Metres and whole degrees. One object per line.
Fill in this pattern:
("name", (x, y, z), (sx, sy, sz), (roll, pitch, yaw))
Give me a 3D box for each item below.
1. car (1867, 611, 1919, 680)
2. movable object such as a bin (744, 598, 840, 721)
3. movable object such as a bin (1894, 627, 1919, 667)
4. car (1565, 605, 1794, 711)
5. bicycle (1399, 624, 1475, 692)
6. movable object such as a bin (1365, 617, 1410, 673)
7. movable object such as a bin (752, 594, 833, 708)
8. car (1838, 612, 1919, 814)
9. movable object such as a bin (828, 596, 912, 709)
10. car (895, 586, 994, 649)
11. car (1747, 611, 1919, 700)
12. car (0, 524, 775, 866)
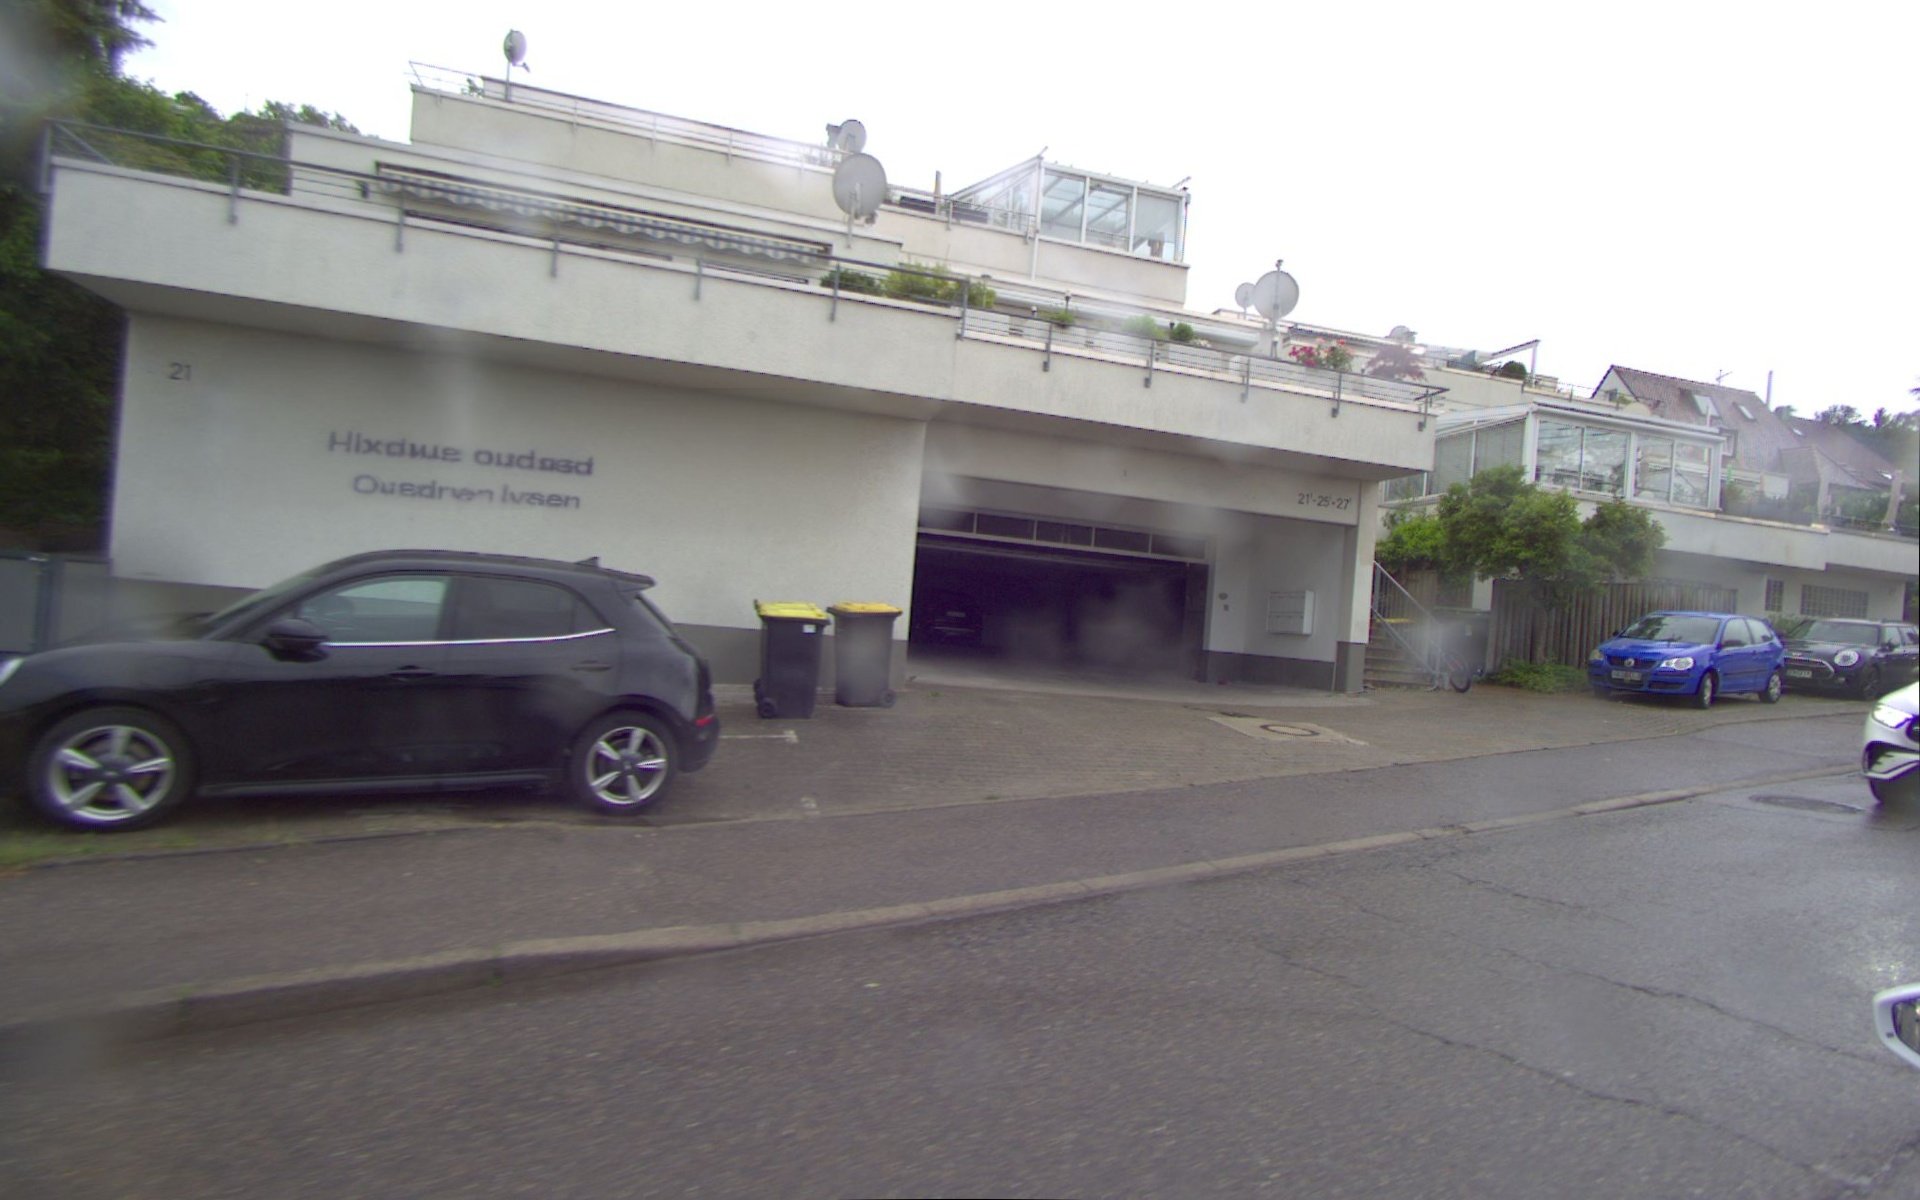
("car", (23.383, 1.112, 23.543), (4.534, 1.456, 1.765), (1, 4, -30))
("movable object such as a bin", (-1.663, 0.571, 9.899), (0.834, 1.085, 0.725), (3, 4, -12))
("movable object such as a bin", (26.746, 1.325, 28.130), (0.672, 1.070, 0.577), (2, 1, -18))
("car", (11.907, 0.893, 16.577), (3.913, 1.453, 1.598), (1, 4, -31))
("bicycle", (8.093, 0.957, 17.107), (0.469, 1.020, 1.568), (2, 1, -1))
("movable object such as a bin", (8.465, 0.887, 19.889), (0.552, 1.055, 0.546), (2, 2, -16))
("movable object such as a bin", (-1.781, 0.524, 10.596), (0.753, 1.085, 0.725), (3, 4, -12))
("car", (9.679, 0.951, 8.723), (4.332, 1.588, 1.790), (1, 0, -30))
("movable object such as a bin", (-0.974, 0.544, 10.733), (0.753, 1.085, 0.725), (3, 4, -12))
("car", (-0.501, 0.442, 27.865), (1.759, 1.515, 3.494), (4, 0, -18))
("car", (16.995, 1.024, 19.159), (4.189, 1.415, 1.625), (1, 3, -30))
("car", (-3.485, 0.471, 6.536), (4.143, 1.610, 1.682), (1, 6, -27))
